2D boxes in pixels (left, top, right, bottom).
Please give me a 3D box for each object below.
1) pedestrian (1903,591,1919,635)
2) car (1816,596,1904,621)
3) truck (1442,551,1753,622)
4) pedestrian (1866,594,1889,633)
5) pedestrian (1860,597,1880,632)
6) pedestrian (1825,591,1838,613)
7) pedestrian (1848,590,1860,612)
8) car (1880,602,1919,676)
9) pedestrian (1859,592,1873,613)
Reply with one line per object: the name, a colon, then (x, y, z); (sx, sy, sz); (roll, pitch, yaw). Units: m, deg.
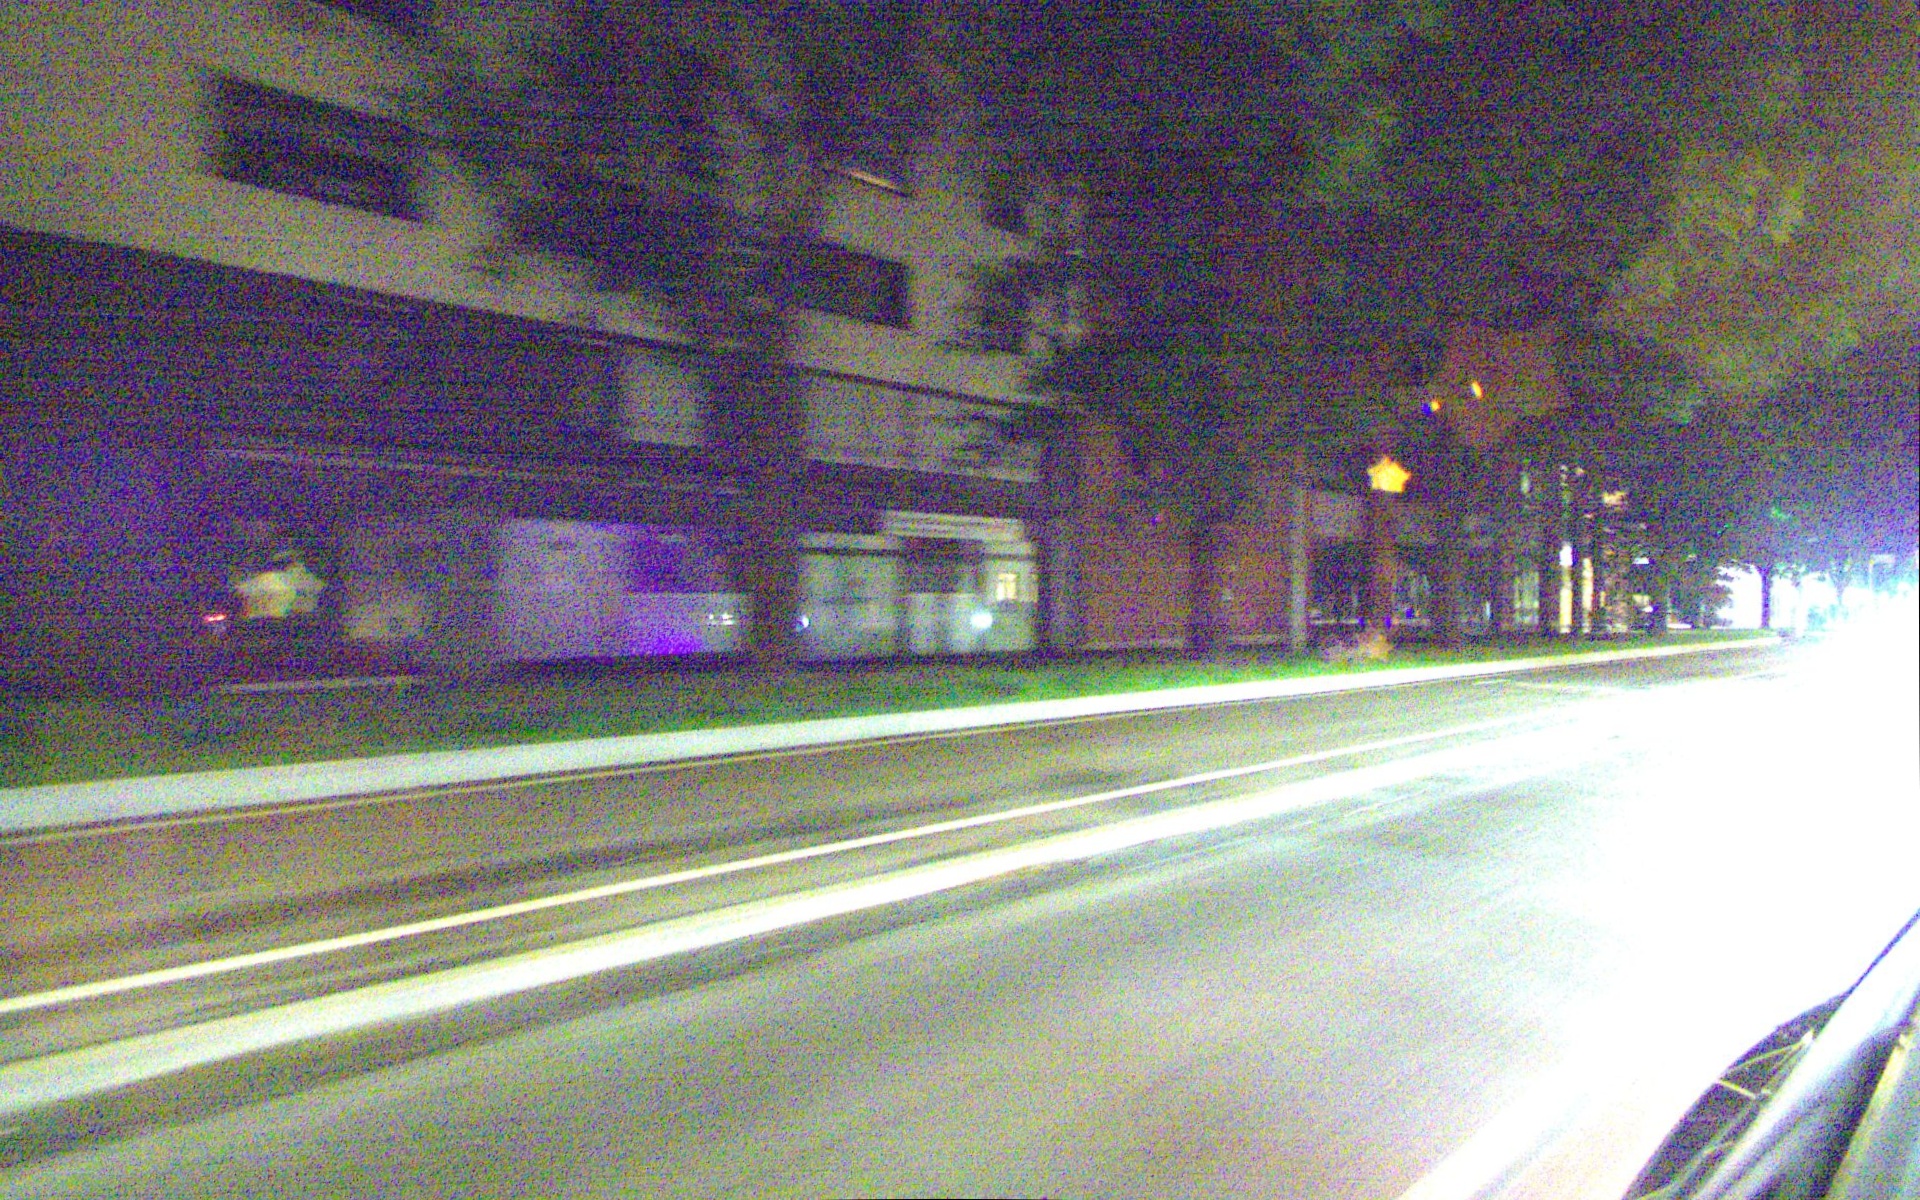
pedestrian: (40.535, 0.548, 42.967); (0.746, 1.834, 0.623); (0, 1, -40)
car: (58.415, 0.508, 65.752); (1.755, 1.472, 4.089); (0, 2, -41)
truck: (40.109, -1.021, 65.001); (3.077, 4.033, 16.812); (-1, 2, -40)
pedestrian: (39.953, 0.591, 44.063); (0.667, 1.659, 0.622); (0, 1, -40)
pedestrian: (40.722, 0.652, 45.297); (0.622, 1.553, 0.573); (0, 1, -40)
pedestrian: (74.028, 0.140, 85.997); (0.890, 1.839, 0.675); (0, 1, -40)
pedestrian: (74.823, 0.073, 84.699); (0.822, 1.811, 0.630); (0, 1, -40)
car: (21.026, 0.789, 21.460); (4.419, 1.448, 1.727); (0, 0, -41)
pedestrian: (75.431, 0.196, 84.274); (0.968, 1.738, 0.736); (0, 1, -40)
